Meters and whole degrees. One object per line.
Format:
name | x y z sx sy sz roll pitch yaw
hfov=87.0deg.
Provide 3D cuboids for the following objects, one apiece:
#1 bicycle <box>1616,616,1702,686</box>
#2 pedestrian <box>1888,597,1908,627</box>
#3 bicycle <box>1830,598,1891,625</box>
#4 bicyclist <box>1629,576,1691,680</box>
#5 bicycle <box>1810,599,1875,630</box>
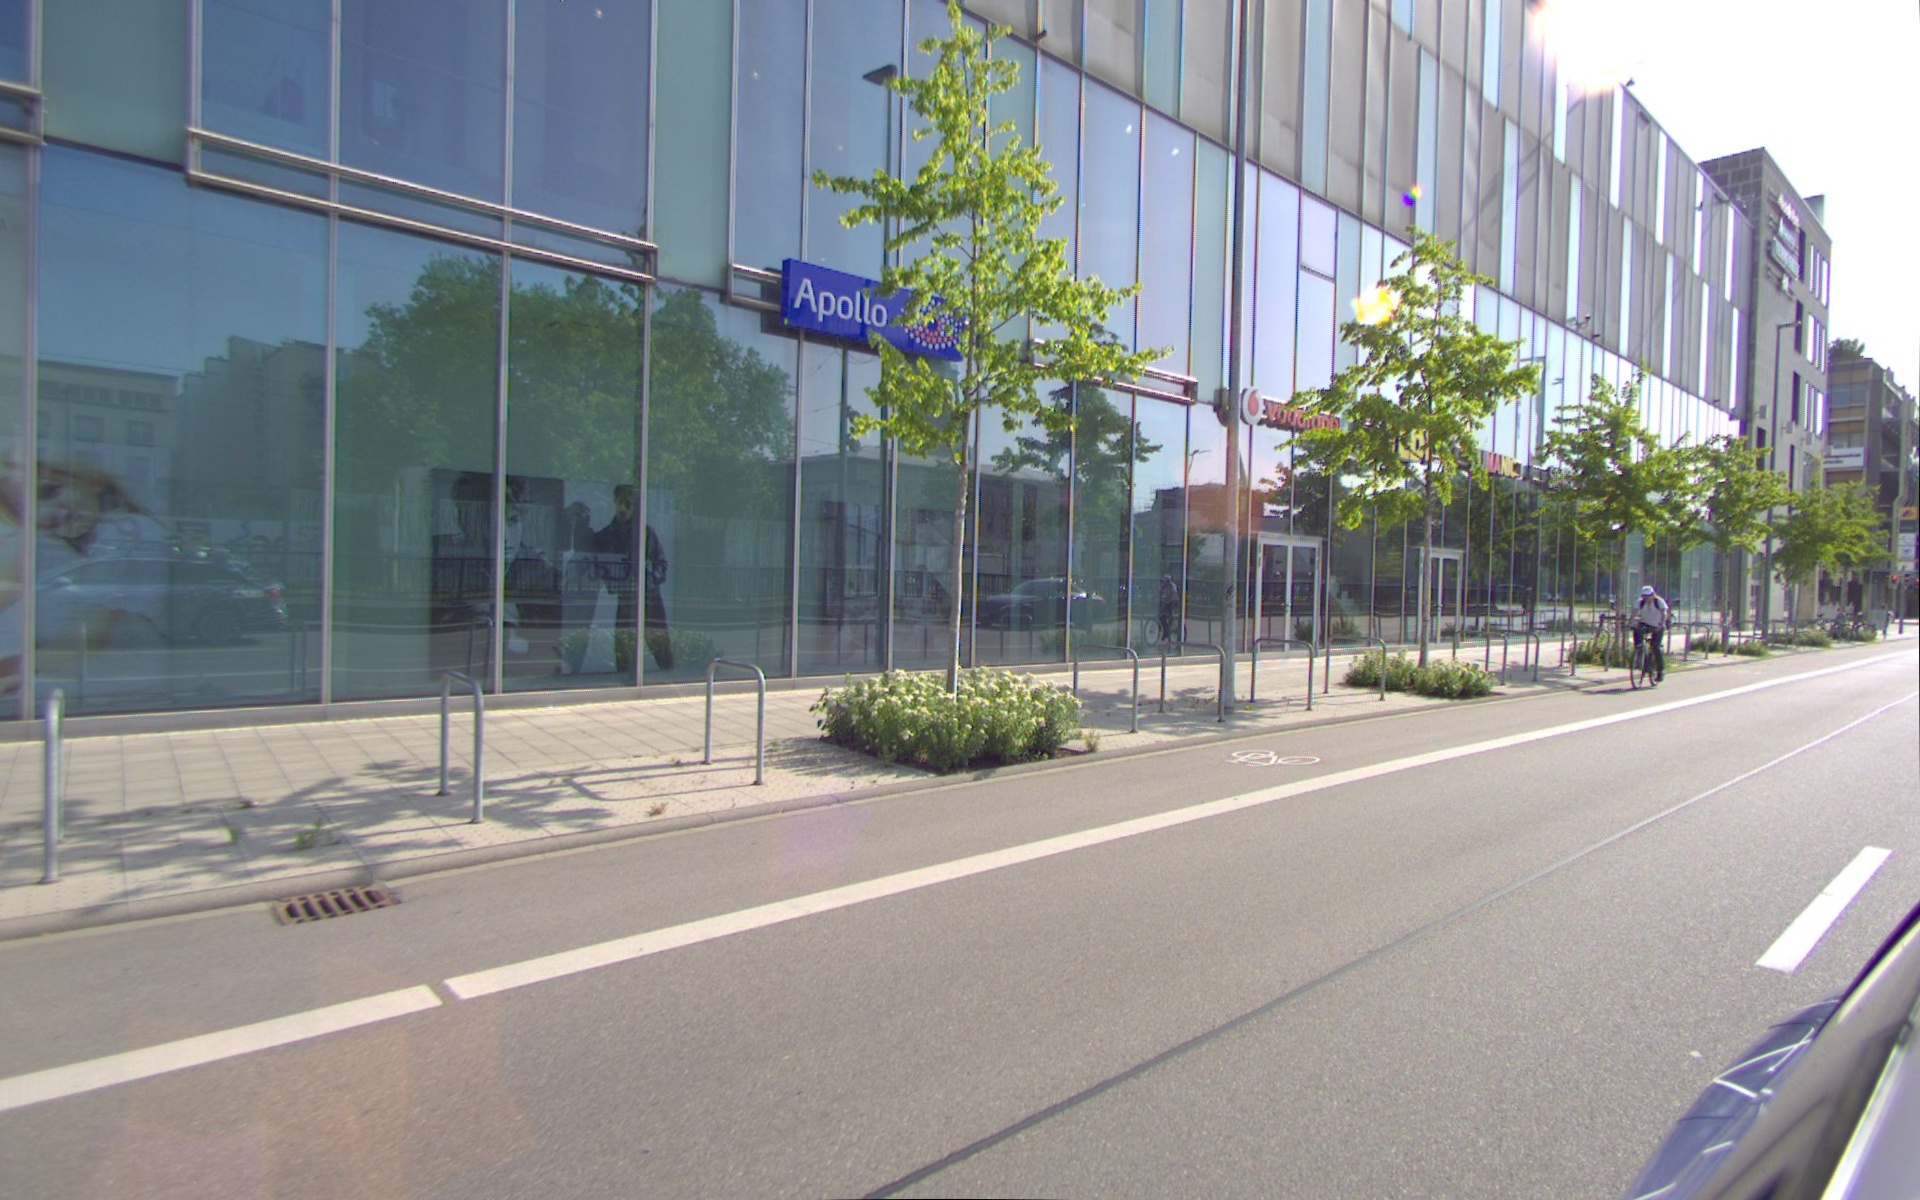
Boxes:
bicycle | 12.247 0.860 17.712 2.013 1.131 0.663 0 1 -38
pedestrian | 47.293 0.593 51.038 0.707 1.506 0.595 2 1 43
bicycle | 38.308 0.485 43.056 0.674 1.127 1.844 1 0 -38
bicyclist | 12.225 0.469 17.671 0.755 1.770 0.653 1 1 -38
bicycle | 35.187 0.569 40.389 0.481 1.123 1.883 1 1 -38
